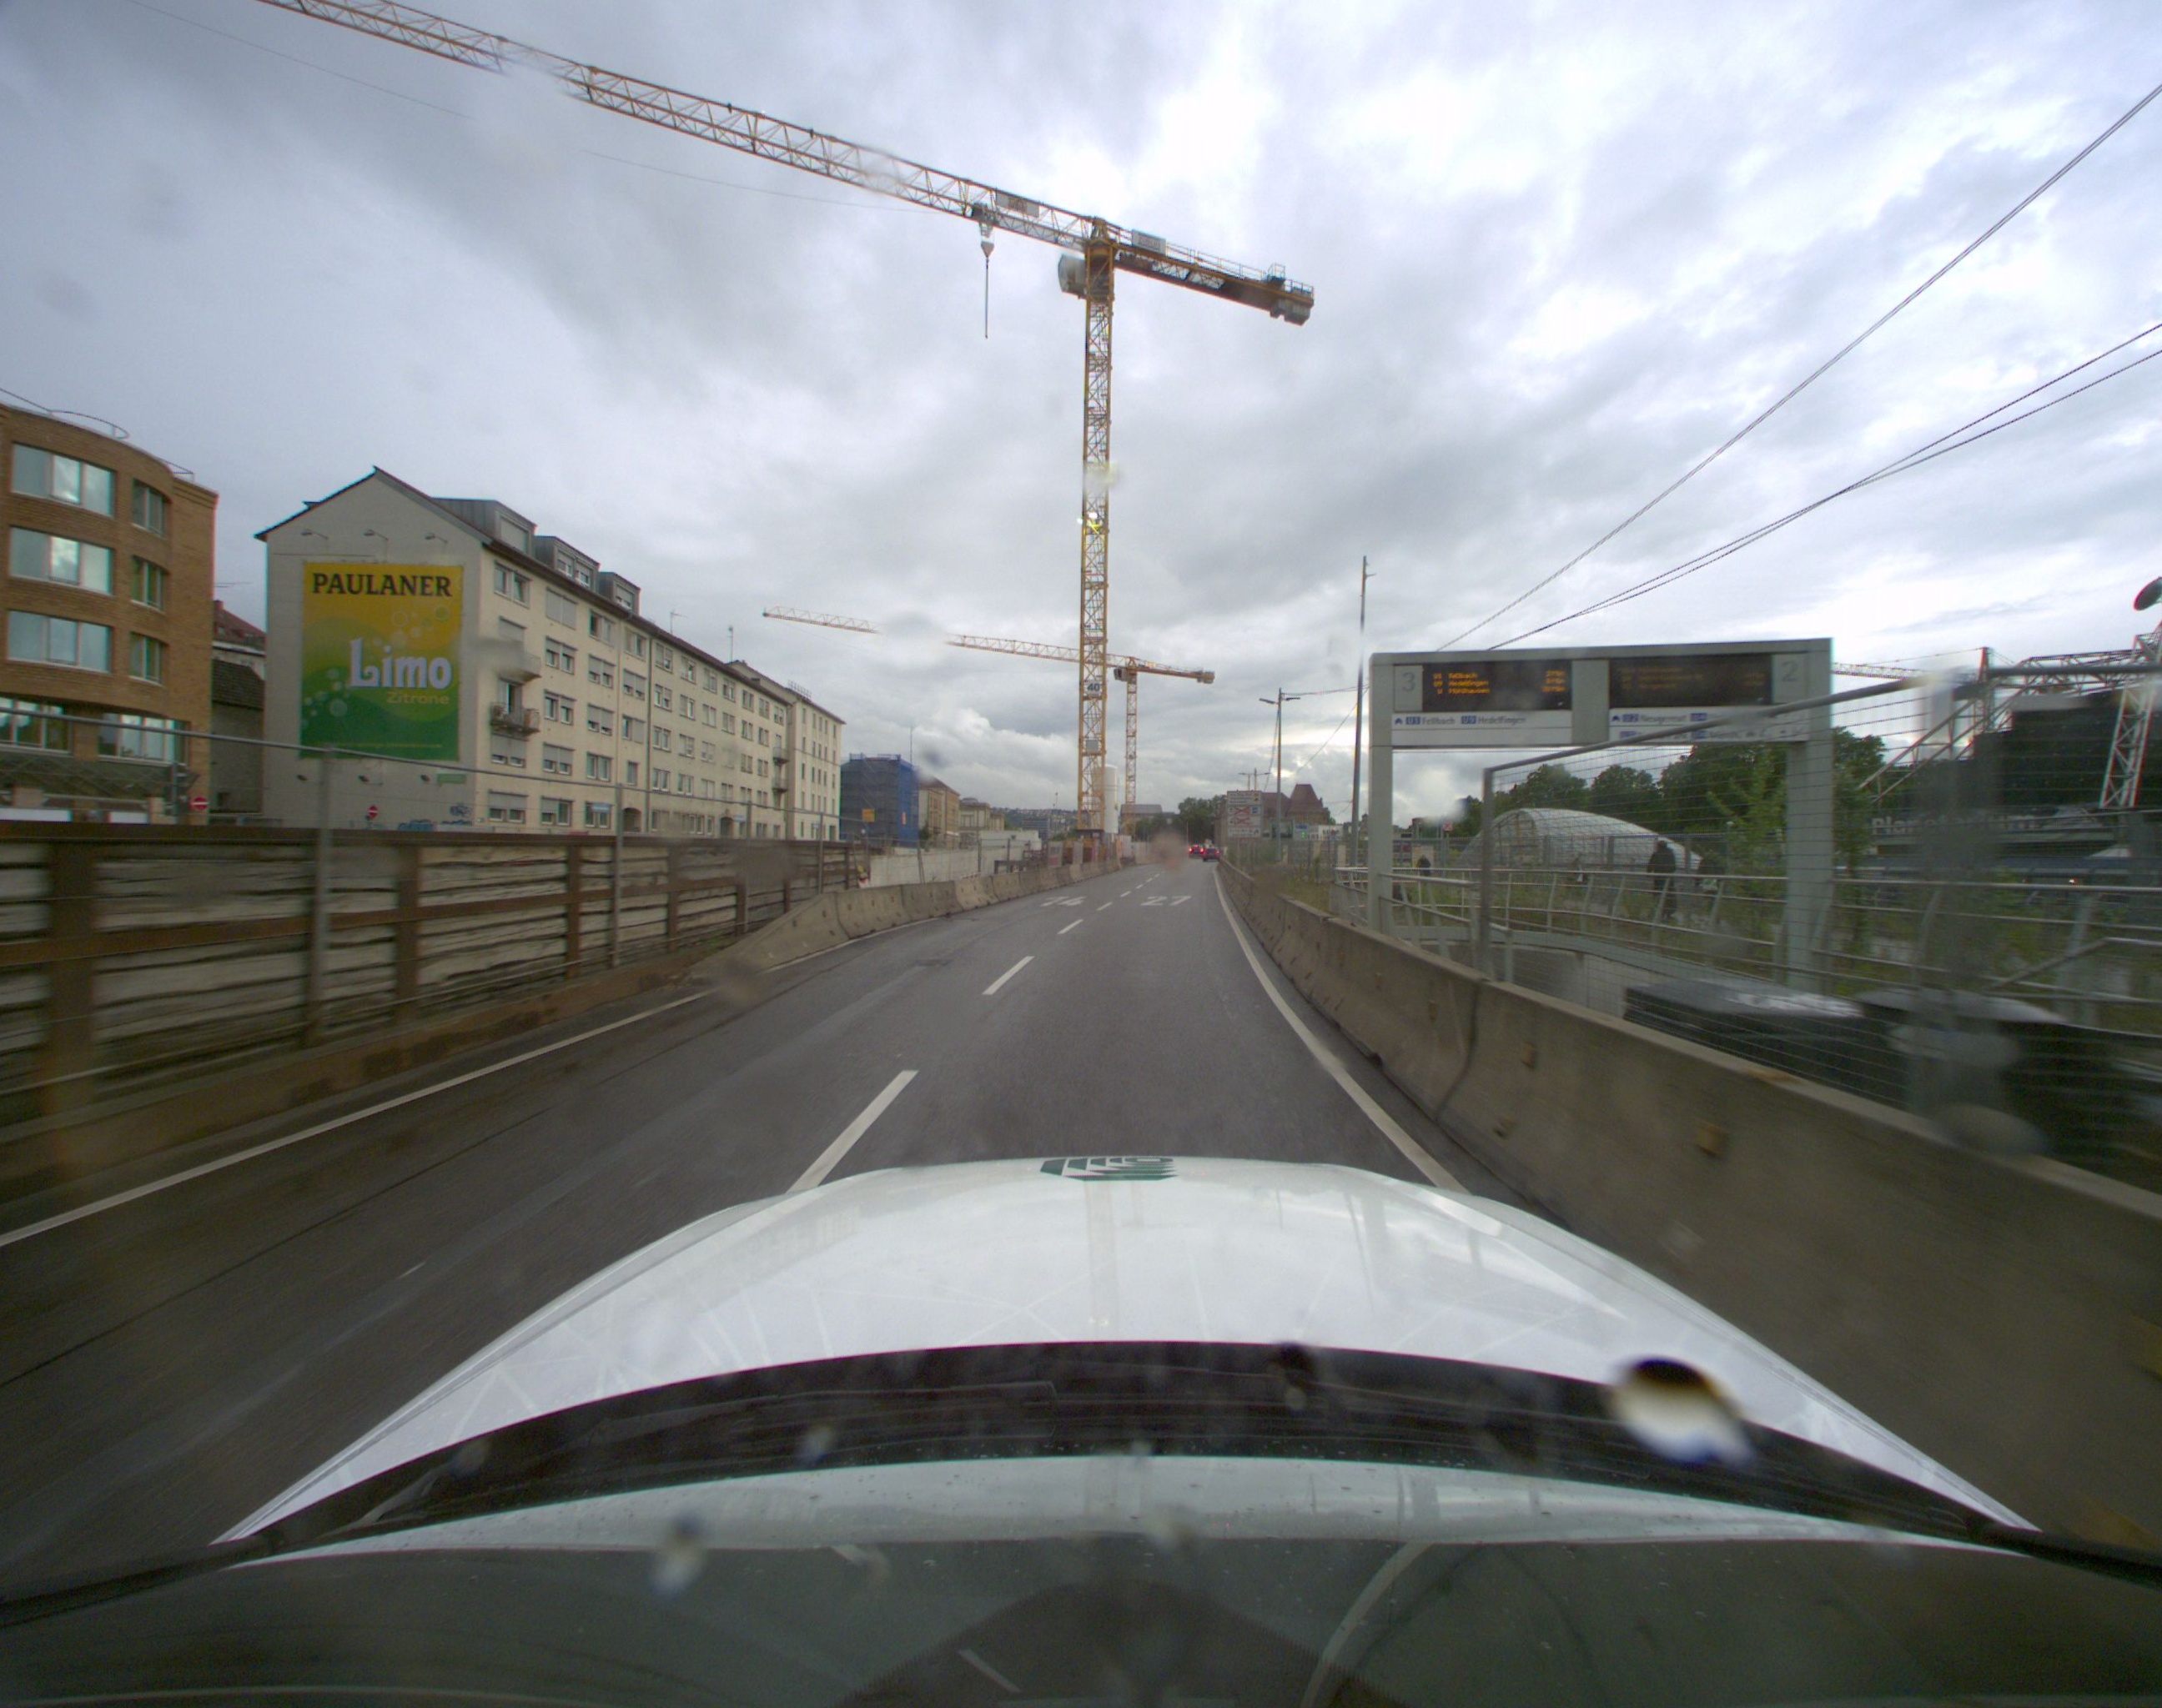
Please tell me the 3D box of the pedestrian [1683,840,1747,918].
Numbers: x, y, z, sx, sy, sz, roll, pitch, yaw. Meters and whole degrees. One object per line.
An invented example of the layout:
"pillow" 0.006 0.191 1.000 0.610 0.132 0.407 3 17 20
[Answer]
"pedestrian" 14.728 0.573 18.947 0.687 1.778 1.023 0 -1 2

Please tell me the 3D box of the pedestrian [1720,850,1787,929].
"pedestrian" 15.539 0.801 18.844 0.723 1.778 1.024 0 -1 4

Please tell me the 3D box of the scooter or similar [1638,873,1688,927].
"scooter or similar" 13.539 1.054 18.978 0.488 1.179 1.098 0 0 7

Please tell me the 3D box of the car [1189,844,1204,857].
"car" 14.929 -0.426 104.999 1.852 1.660 4.667 1 0 9

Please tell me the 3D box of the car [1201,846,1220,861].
"car" 13.696 -0.006 86.093 1.852 1.433 4.666 -3 -1 8

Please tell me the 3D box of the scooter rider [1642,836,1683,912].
"scooter rider" 13.537 0.457 18.975 0.518 1.755 0.701 0 0 7

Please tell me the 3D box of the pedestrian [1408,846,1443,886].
"pedestrian" 14.552 0.495 34.455 1.023 1.658 0.893 0 -1 -21
